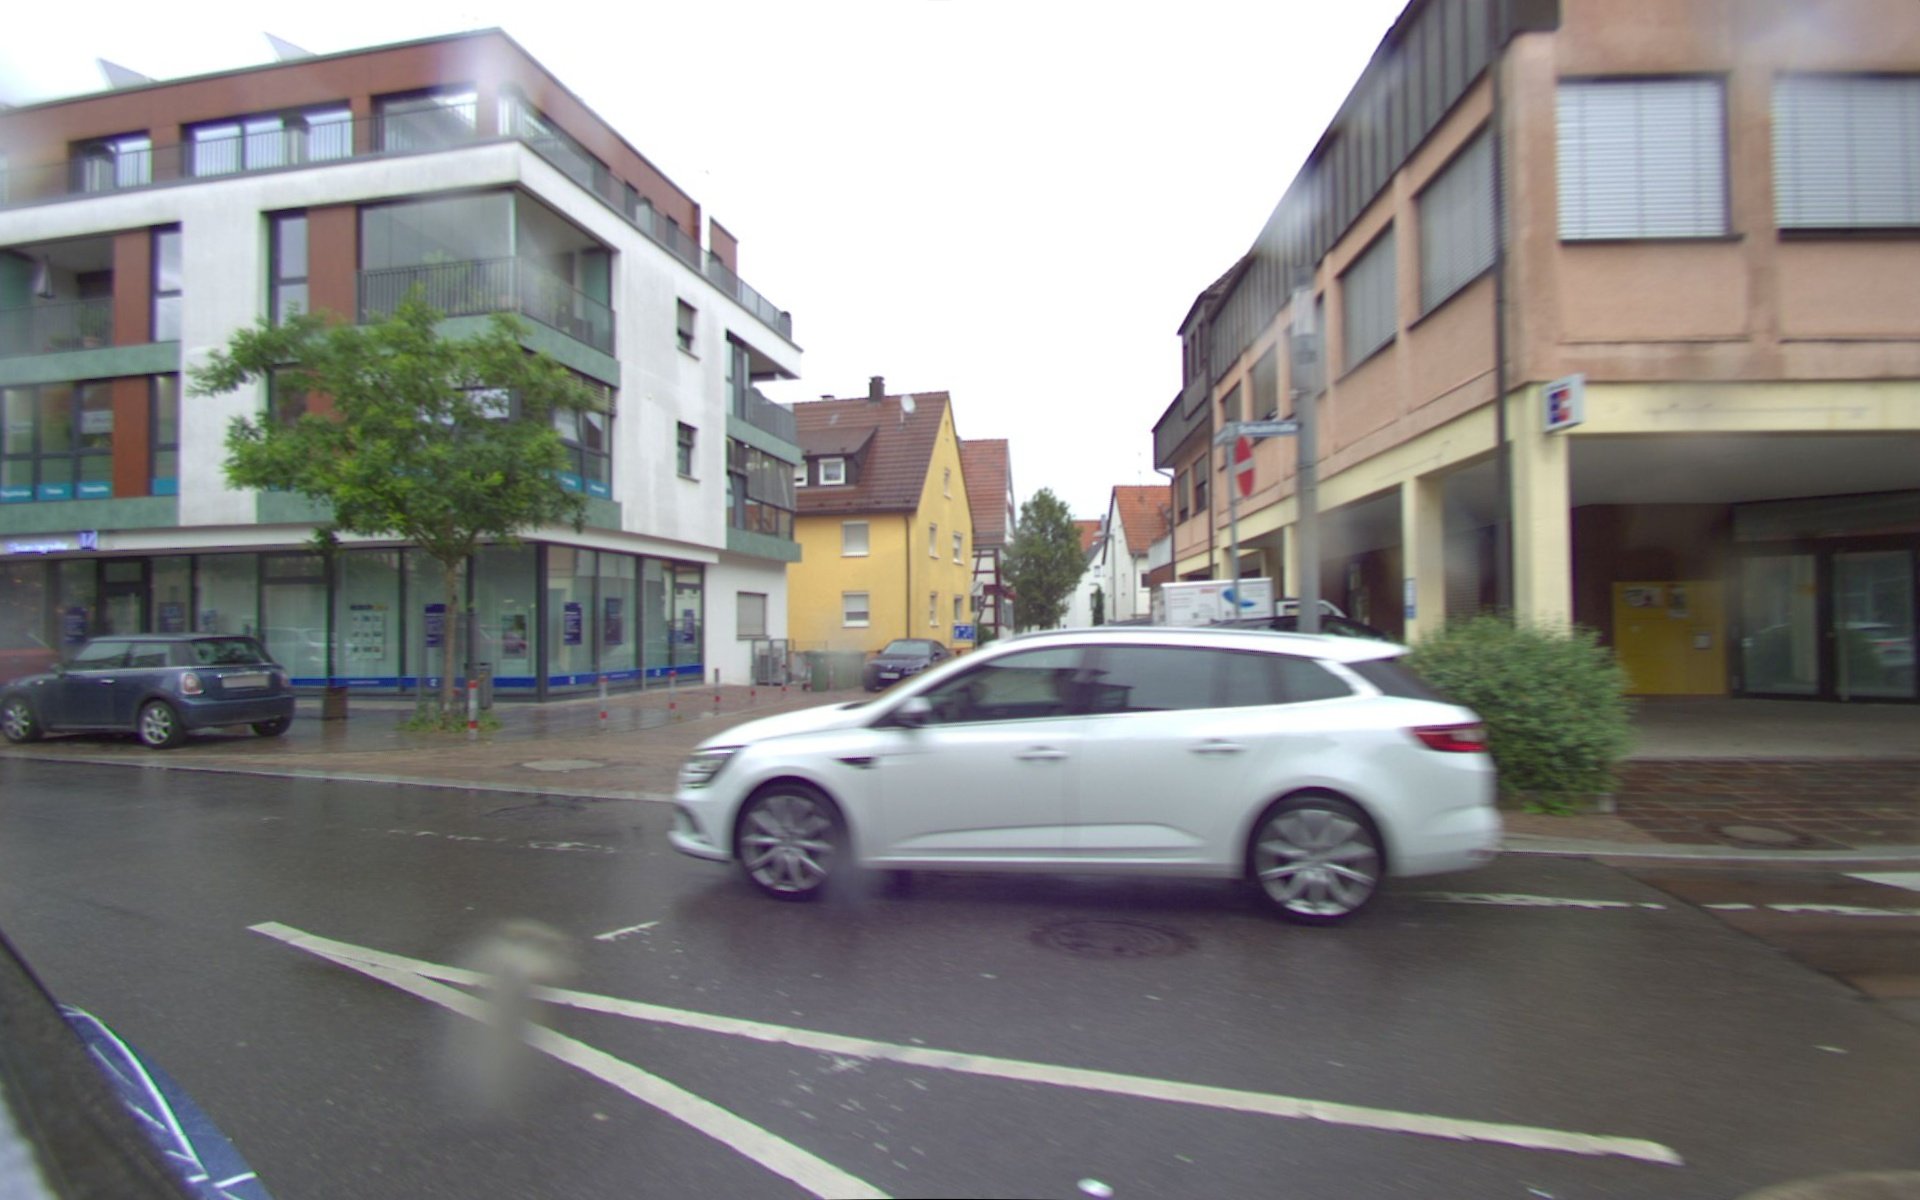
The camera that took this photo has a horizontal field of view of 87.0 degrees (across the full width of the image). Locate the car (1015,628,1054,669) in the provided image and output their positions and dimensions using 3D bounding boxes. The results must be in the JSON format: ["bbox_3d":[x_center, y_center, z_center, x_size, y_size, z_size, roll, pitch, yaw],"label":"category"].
[{"bbox_3d":[4.054,2.596,54.840,1.975,2.029,3.993,0,0,6],"label":"car"}]

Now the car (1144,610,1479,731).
[{"bbox_3d":[4.625,0.914,13.832,3.949,1.519,1.834,0,0,5],"label":"car"}]

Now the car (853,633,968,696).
[{"bbox_3d":[-1.292,1.750,28.646,1.981,1.519,4.522,-1,0,15],"label":"car"}]

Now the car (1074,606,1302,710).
[{"bbox_3d":[4.279,1.122,19.563,3.949,1.684,1.833,-4,-3,5],"label":"car"}]

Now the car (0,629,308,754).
[{"bbox_3d":[-10.723,1.131,13.362,3.554,1.446,1.671,-1,0,16],"label":"car"}]

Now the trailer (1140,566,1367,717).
[{"bbox_3d":[4.611,0.682,16.319,3.054,2.104,1.833,-4,-3,5],"label":"trailer"}]

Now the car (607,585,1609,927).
[{"bbox_3d":[0.652,0.735,5.877,4.811,1.503,1.918,-1,-2,11],"label":"car"}]

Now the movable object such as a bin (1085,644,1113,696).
[{"bbox_3d":[3.436,1.722,25.073,0.626,1.242,0.521,-1,-1,15],"label":"movable object such as a bin"}]

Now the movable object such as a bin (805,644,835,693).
[{"bbox_3d":[-3.662,1.780,26.478,0.626,1.242,0.521,-1,-1,15],"label":"movable object such as a bin"}]

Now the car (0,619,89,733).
[{"bbox_3d":[-15.298,1.091,14.837,3.877,1.566,1.798,0,0,9],"label":"car"}]

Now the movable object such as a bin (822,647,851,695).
[{"bbox_3d":[-3.349,1.916,27.385,0.626,1.242,0.521,-1,-1,15],"label":"movable object such as a bin"}]

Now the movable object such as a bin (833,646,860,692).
[{"bbox_3d":[-3.169,1.923,28.288,0.626,1.242,0.521,-1,-1,15],"label":"movable object such as a bin"}]

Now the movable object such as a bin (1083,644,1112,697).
[{"bbox_3d":[3.321,1.700,24.461,0.626,1.242,0.521,-1,-1,15],"label":"movable object such as a bin"}]
